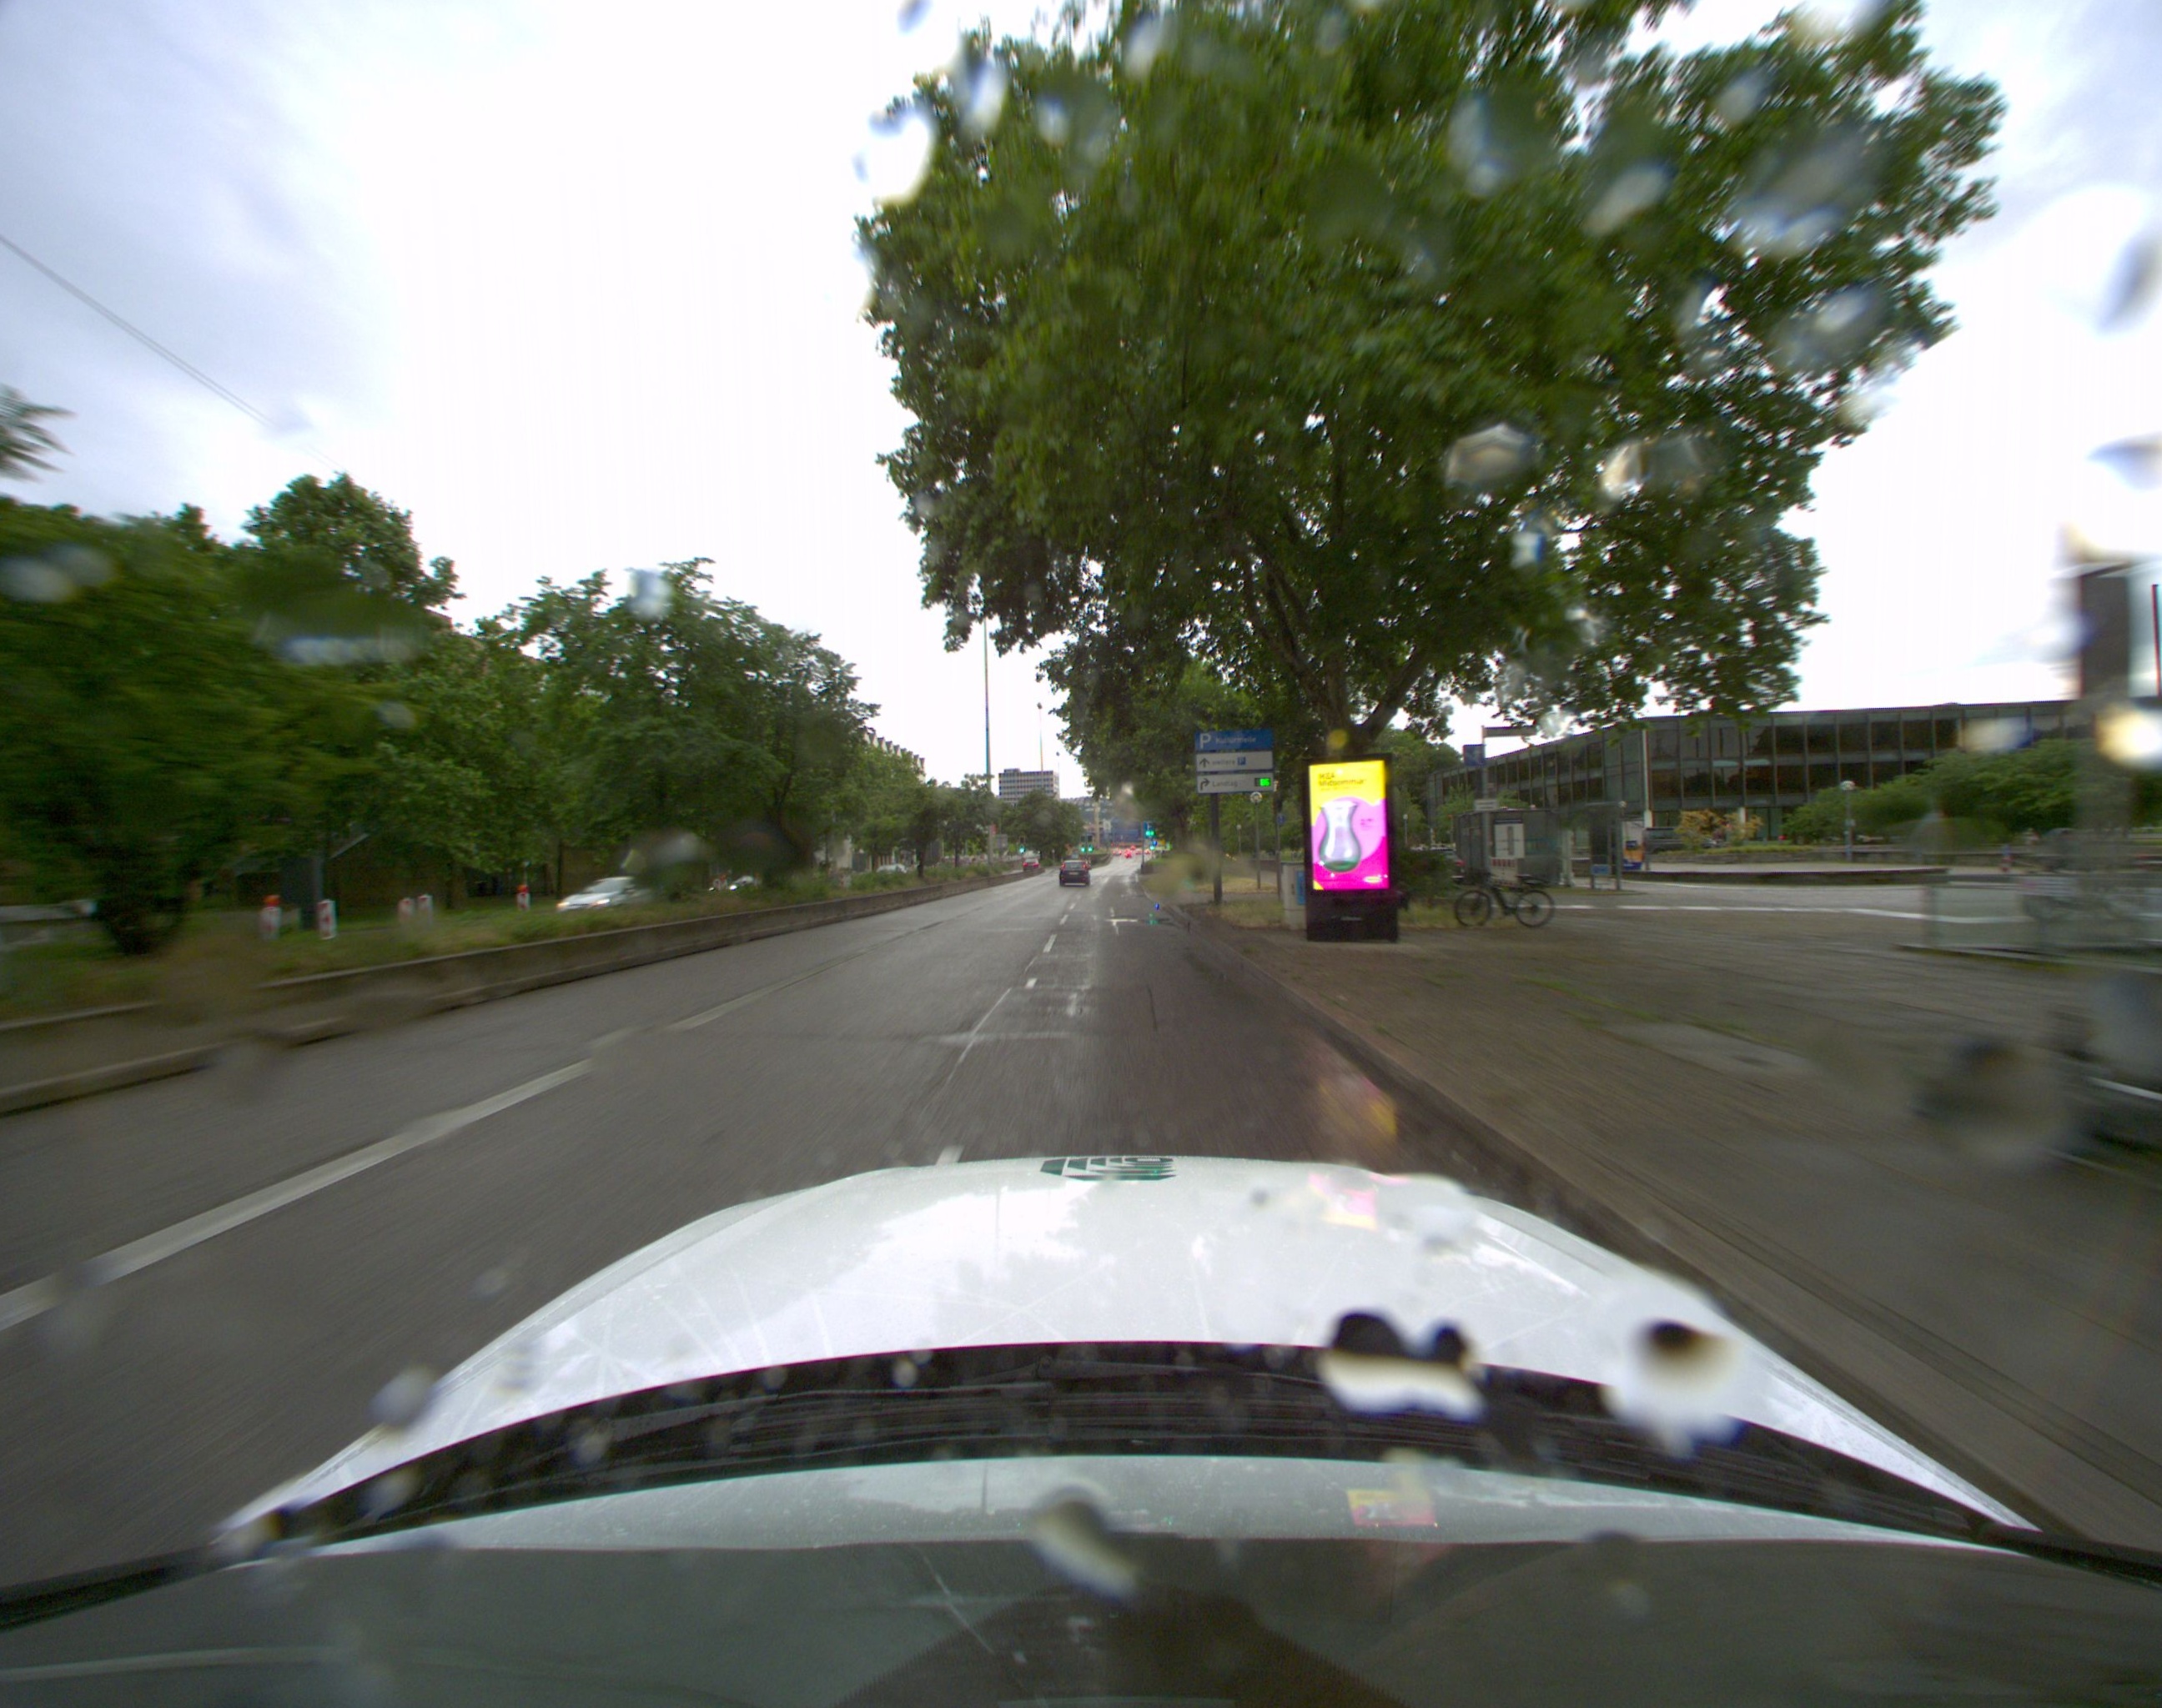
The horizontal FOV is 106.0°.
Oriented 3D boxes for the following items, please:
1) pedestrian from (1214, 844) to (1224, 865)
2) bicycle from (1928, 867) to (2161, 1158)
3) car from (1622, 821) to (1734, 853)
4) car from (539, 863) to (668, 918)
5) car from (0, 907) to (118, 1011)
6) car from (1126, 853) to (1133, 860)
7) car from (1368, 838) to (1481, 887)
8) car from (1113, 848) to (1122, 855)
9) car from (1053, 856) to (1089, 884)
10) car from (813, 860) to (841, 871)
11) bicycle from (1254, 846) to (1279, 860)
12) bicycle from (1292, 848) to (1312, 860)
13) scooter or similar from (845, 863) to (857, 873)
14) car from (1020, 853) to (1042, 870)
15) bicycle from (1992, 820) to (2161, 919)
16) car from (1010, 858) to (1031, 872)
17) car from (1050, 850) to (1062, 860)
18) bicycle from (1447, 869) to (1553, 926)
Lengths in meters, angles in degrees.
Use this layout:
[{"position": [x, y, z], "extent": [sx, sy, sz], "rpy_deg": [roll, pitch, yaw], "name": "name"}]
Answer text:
[{"position": [11.785, 0.050, 69.544], "extent": [0.702, 1.718, 0.693], "rpy_deg": [-4, 0, 3], "name": "pedestrian"}, {"position": [4.877, 0.681, 3.513], "extent": [0.601, 1.197, 1.909], "rpy_deg": [-4, -1, 9], "name": "bicycle"}, {"position": [36.071, -1.001, 49.308], "extent": [4.991, 1.764, 2.460], "rpy_deg": [-2, 0, -1], "name": "car"}, {"position": [-14.675, 1.061, 25.292], "extent": [1.539, 1.508, 3.933], "rpy_deg": [-2, 0, 2], "name": "car"}, {"position": [-18.757, 1.809, 12.514], "extent": [1.985, 1.625, 4.812], "rpy_deg": [-4, -1, 3], "name": "car"}, {"position": [13.614, 0.618, 229.446], "extent": [1.731, 1.771, 4.004], "rpy_deg": [-4, -1, 4], "name": "car"}, {"position": [12.482, 0.232, 30.032], "extent": [1.987, 1.609, 5.237], "rpy_deg": [-1, 1, 1], "name": "car"}, {"position": [11.658, -0.755, 262.053], "extent": [2.204, 2.013, 4.015], "rpy_deg": [-2, 0, 13], "name": "car"}, {"position": [-0.605, 0.920, 46.280], "extent": [1.840, 1.416, 3.834], "rpy_deg": [-3, -1, -3], "name": "car"}, {"position": [-41.294, 1.802, 132.477], "extent": [3.973, 1.596, 2.000], "rpy_deg": [-2, 0, 0], "name": "car"}, {"position": [16.847, -0.106, 74.069], "extent": [2.033, 1.173, 0.957], "rpy_deg": [-2, 0, -8], "name": "bicycle"}, {"position": [21.010, -0.027, 77.503], "extent": [1.637, 1.085, 0.709], "rpy_deg": [-2, 1, -3], "name": "bicycle"}, {"position": [-33.026, 2.055, 117.111], "extent": [0.706, 1.351, 1.684], "rpy_deg": [-4, -1, 24], "name": "scooter or similar"}, {"position": [-5.723, 0.822, 93.371], "extent": [1.985, 1.781, 4.005], "rpy_deg": [-2, 0, 4], "name": "car"}, {"position": [17.909, 0.274, 14.637], "extent": [2.311, 1.667, 0.773], "rpy_deg": [-1, -2, -5], "name": "bicycle"}, {"position": [-6.352, 1.154, 86.481], "extent": [1.747, 1.451, 4.002], "rpy_deg": [-2, 0, 2], "name": "car"}, {"position": [-4.383, 0.185, 140.506], "extent": [1.988, 1.632, 3.997], "rpy_deg": [-2, 0, -2], "name": "car"}, {"position": [7.705, 0.785, 15.021], "extent": [1.632, 1.020, 0.576], "rpy_deg": [0, -1, 6], "name": "bicycle"}]
